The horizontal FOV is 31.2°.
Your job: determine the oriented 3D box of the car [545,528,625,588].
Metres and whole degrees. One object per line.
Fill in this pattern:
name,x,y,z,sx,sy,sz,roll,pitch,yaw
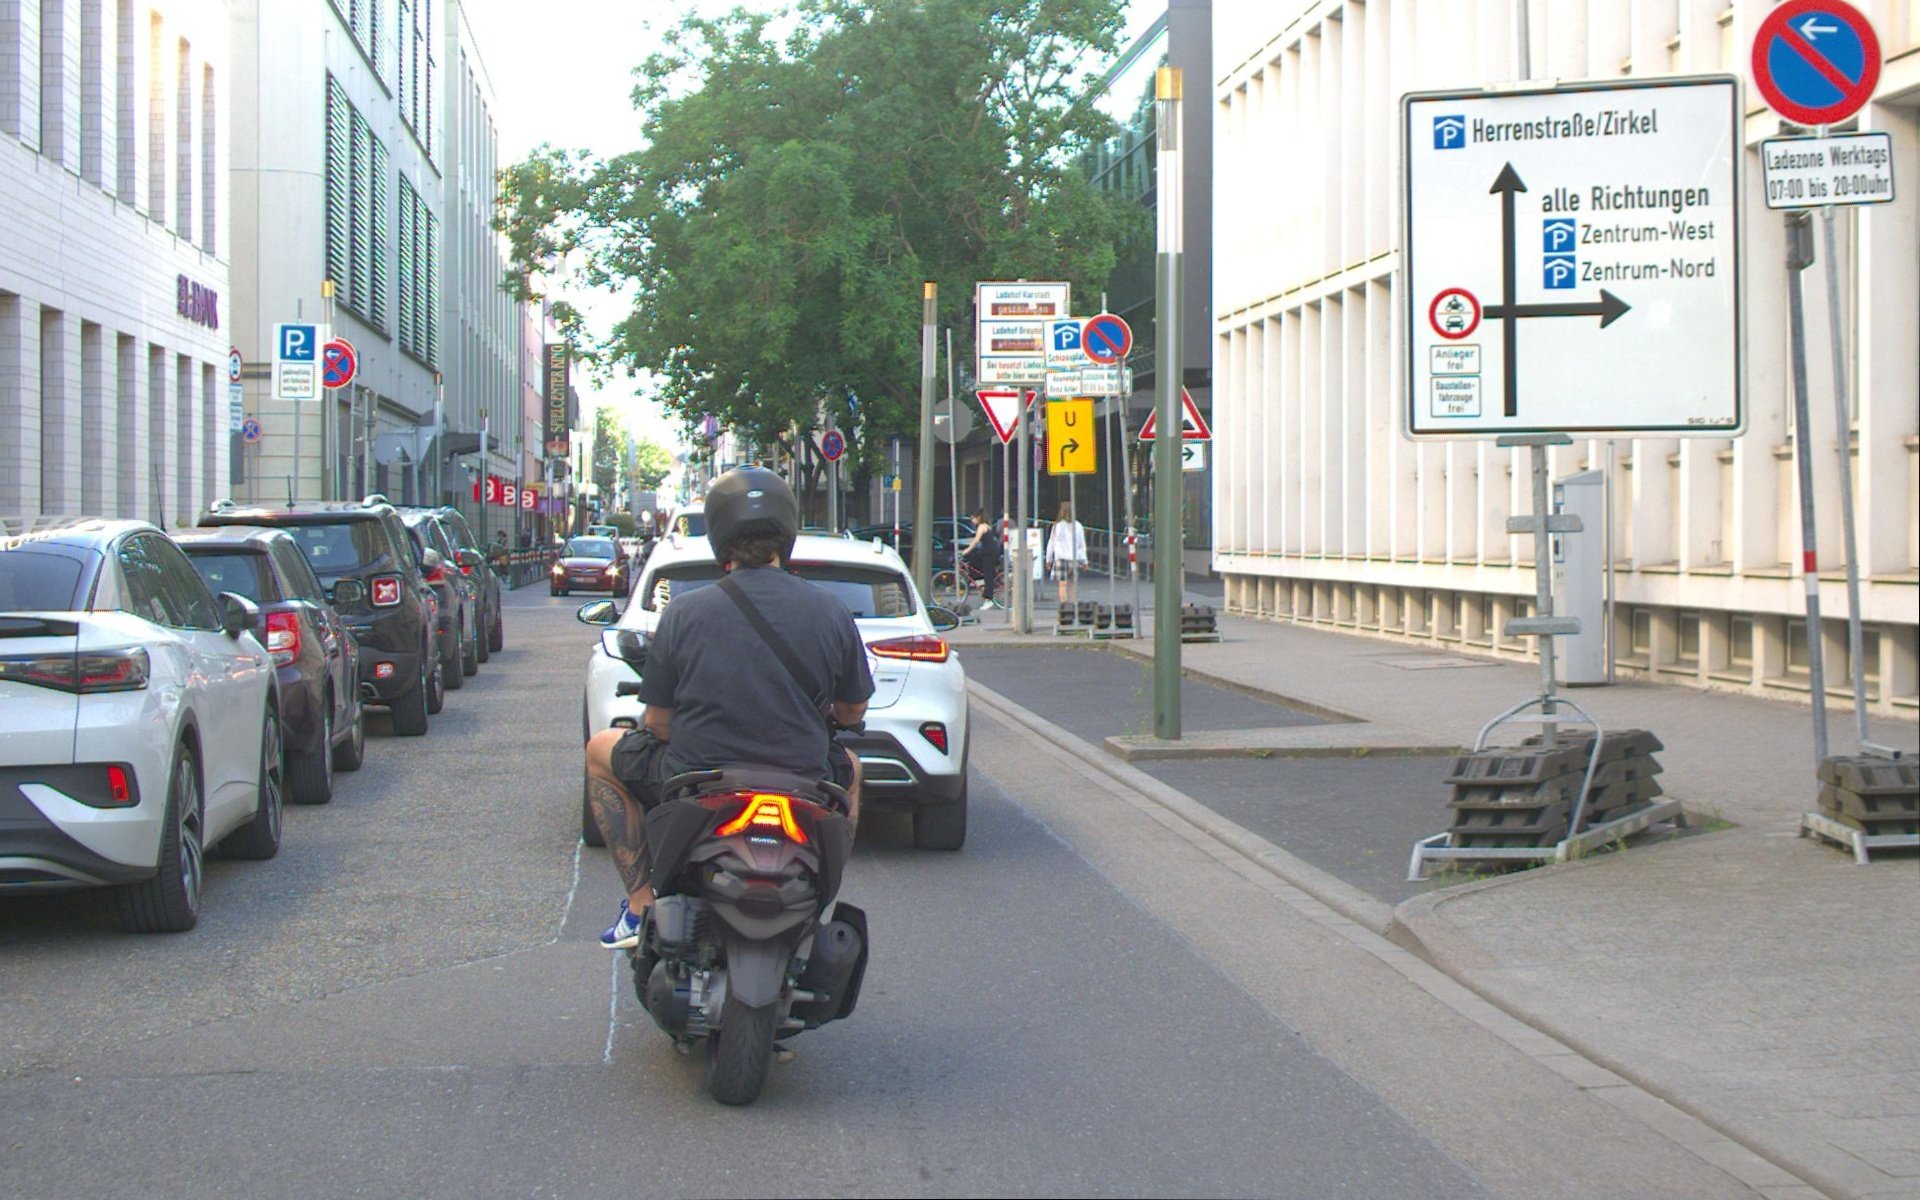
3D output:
car,-9.430,-1.079,86.627,1.947,1.465,3.516,-1,1,-5

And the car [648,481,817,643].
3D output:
car,-2.779,-0.483,41.579,1.924,1.850,4.001,-1,1,-5

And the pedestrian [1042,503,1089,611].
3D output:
pedestrian,1.582,-0.641,51.418,0.643,1.596,0.620,-1,1,-2

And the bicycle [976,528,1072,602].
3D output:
bicycle,1.109,-0.605,59.368,1.564,1.245,0.552,0,1,16

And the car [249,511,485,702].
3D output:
car,-5.363,0.011,31.436,1.776,1.601,3.516,-2,2,-5

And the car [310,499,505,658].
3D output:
car,-5.962,-0.265,37.422,1.776,1.601,3.516,-2,2,-5

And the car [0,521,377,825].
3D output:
car,-4.416,0.340,19.612,1.810,1.522,3.516,-2,2,-5

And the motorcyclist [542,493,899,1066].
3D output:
motorcyclist,-0.671,0.475,10.003,0.954,1.554,1.239,-1,1,-2

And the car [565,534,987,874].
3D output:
car,-0.885,0.431,17.446,1.859,1.467,4.001,1,1,-2

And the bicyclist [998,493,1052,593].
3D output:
bicyclist,1.123,-0.987,59.364,0.747,1.700,0.736,0,1,17

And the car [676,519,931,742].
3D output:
car,-1.242,0.162,26.282,1.774,1.545,4.107,-1,1,-4

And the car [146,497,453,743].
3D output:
car,-4.786,0.093,25.337,1.810,1.640,3.516,-2,2,-5

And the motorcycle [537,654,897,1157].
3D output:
motorcycle,-0.658,0.802,10.092,0.906,1.179,2.579,-1,1,-2

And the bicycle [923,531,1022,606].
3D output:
bicycle,0.214,-0.531,58.021,1.564,1.245,0.552,0,1,16

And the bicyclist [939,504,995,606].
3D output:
bicyclist,0.120,-0.768,58.049,0.747,1.700,0.736,0,1,17

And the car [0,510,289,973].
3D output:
car,-3.928,0.457,14.075,1.810,1.601,4.268,-2,2,-5
